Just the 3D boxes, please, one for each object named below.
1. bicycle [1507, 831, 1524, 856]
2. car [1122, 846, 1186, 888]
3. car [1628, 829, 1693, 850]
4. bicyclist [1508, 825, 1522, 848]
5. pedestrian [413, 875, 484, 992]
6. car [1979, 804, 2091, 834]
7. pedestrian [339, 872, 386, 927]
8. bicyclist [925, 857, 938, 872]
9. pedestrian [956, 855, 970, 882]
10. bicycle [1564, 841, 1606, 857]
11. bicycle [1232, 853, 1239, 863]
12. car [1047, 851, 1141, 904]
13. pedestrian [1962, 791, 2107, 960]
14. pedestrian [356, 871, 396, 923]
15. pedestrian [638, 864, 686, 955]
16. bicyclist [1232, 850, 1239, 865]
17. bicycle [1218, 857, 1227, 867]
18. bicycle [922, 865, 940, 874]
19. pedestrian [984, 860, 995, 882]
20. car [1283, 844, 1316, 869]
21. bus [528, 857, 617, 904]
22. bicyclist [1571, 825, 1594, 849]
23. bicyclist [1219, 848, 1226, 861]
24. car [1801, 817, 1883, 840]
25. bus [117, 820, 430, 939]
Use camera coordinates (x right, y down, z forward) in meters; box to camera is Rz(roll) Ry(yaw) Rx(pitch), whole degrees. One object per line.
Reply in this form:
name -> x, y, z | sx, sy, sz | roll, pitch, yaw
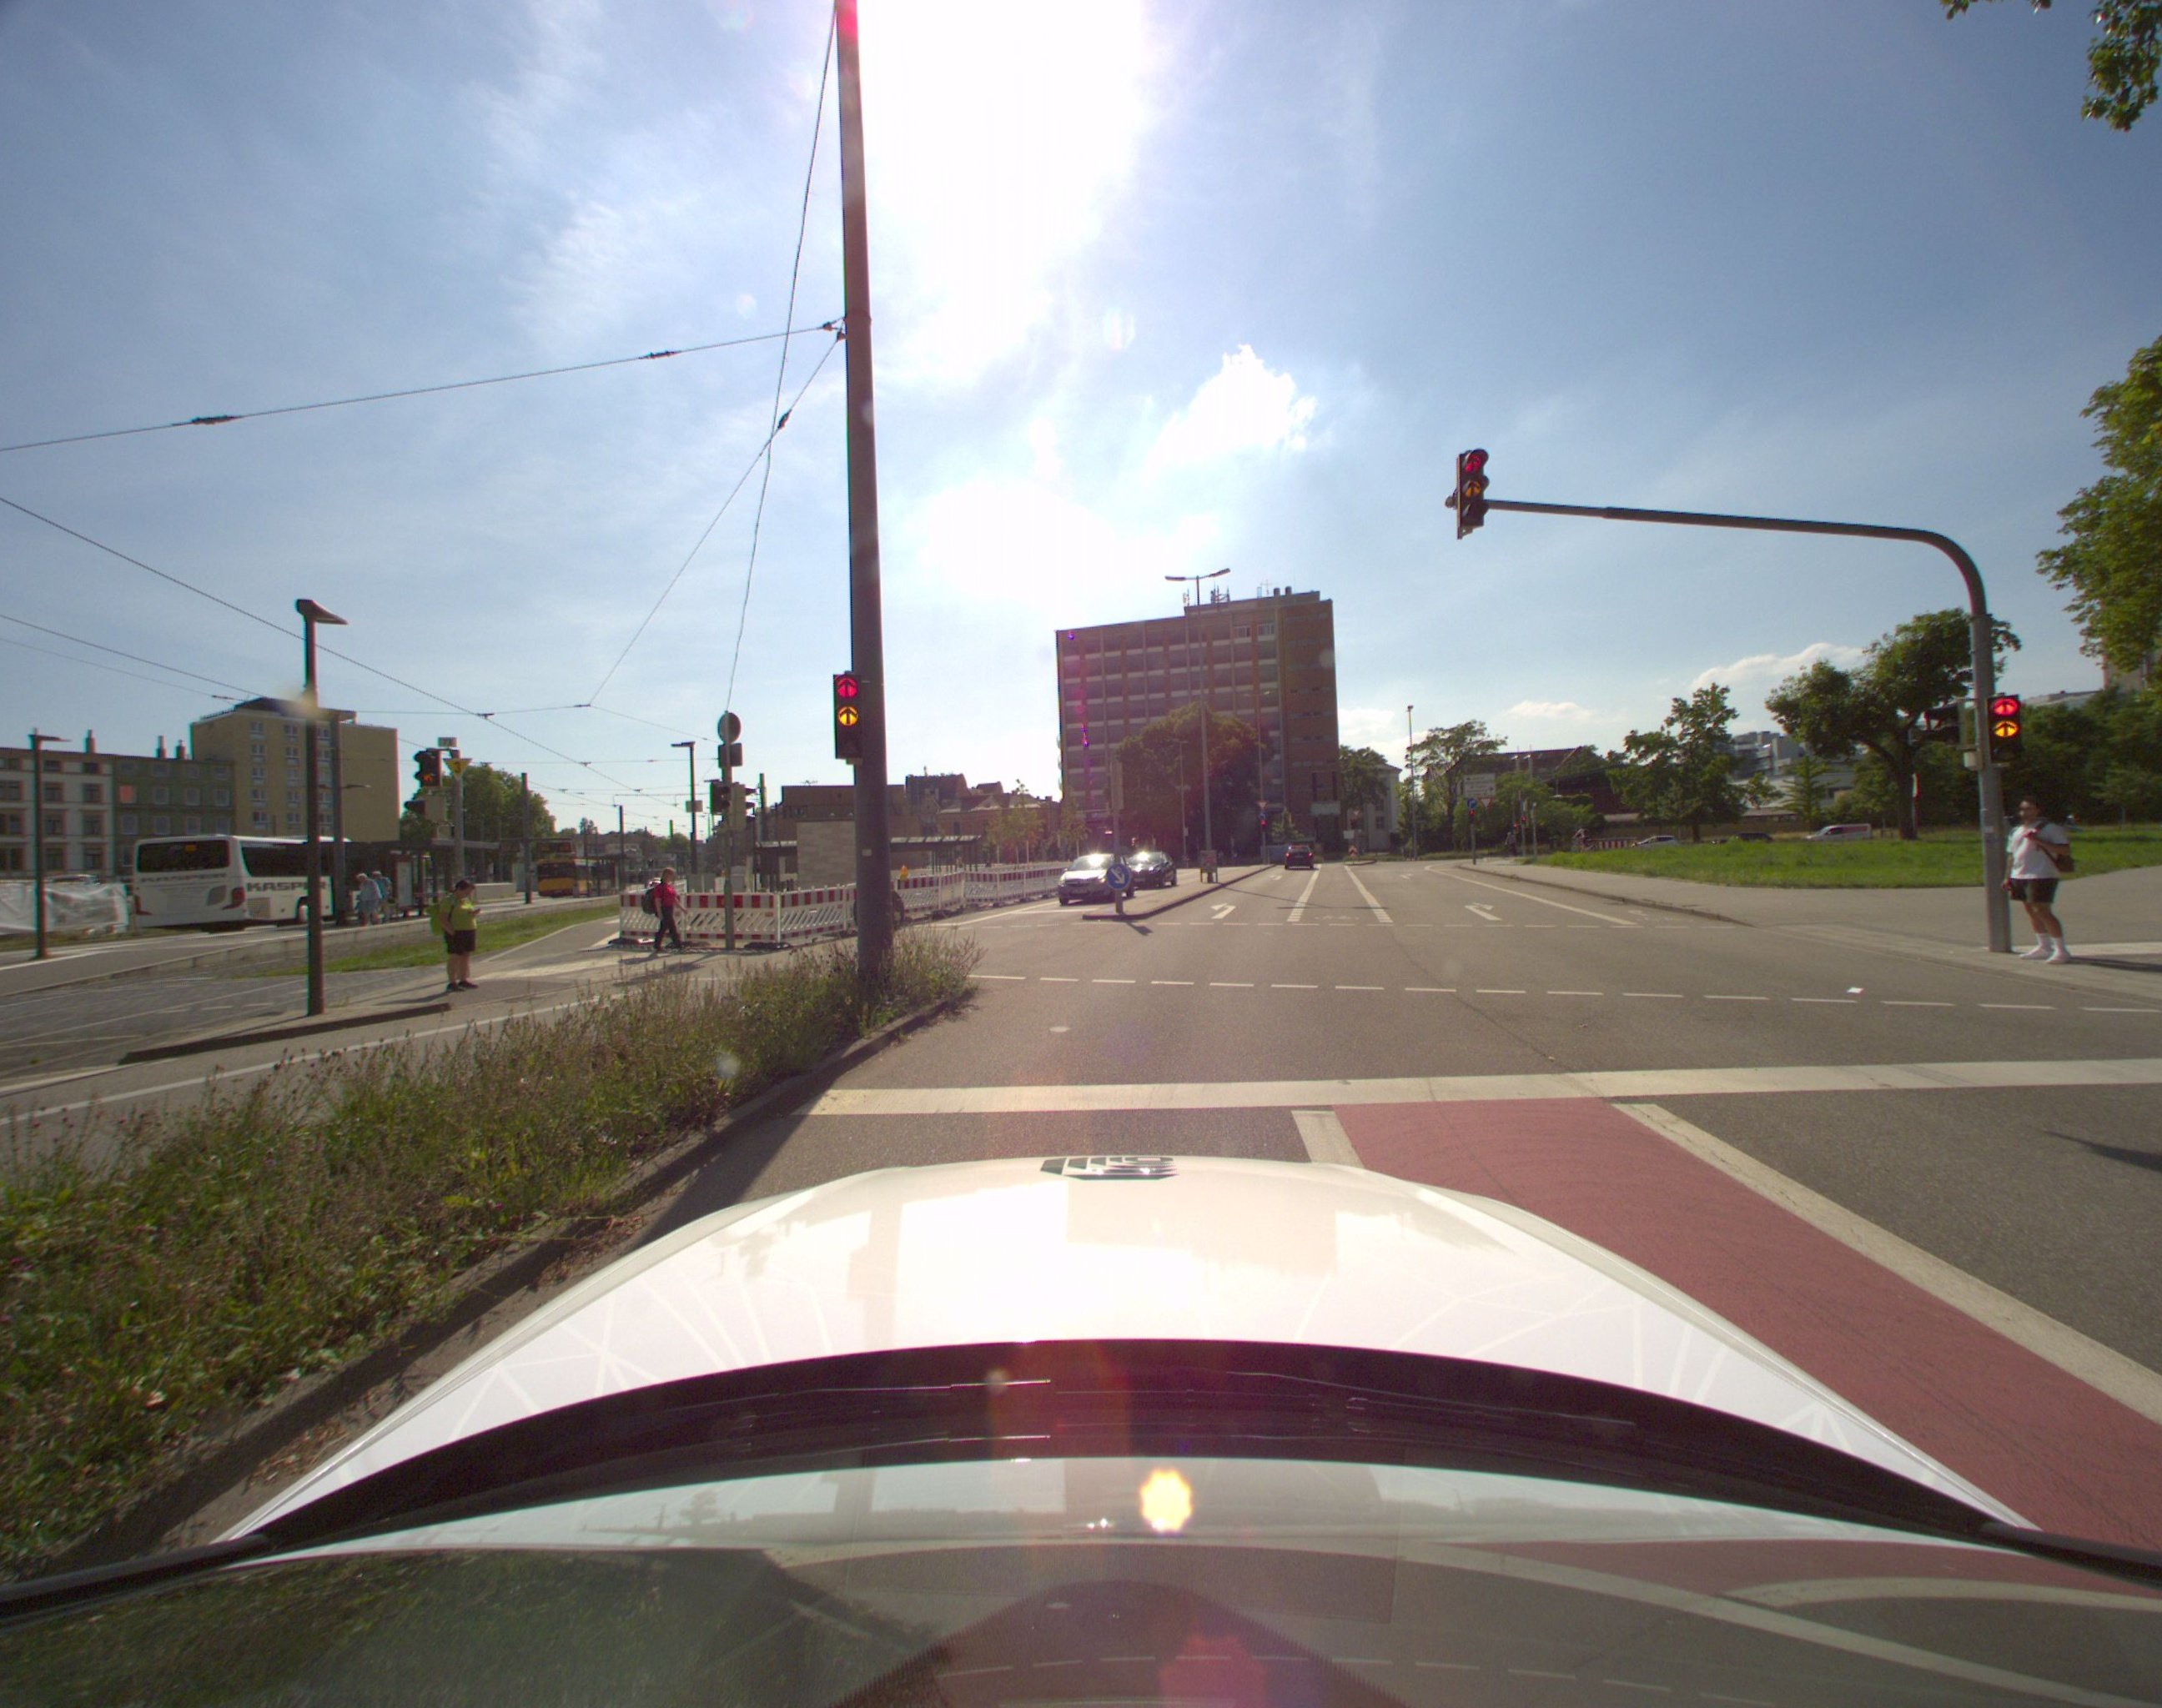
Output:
bicycle -> 32.430, -0.780, 60.774 | 0.673, 1.765, 1.819 | -3, 0, 17
car -> 2.968, 0.483, 32.420 | 1.653, 1.451, 3.836 | -5, -1, 18
car -> 48.868, -1.195, 68.753 | 3.956, 1.464, 2.009 | -3, -1, 17
bicyclist -> 32.428, -1.314, 60.807 | 0.673, 1.655, 0.923 | -3, 0, 17
pedestrian -> -8.657, 1.067, 11.162 | 0.668, 1.543, 0.420 | 0, 1, -23
car -> 56.385, -2.042, 48.231 | 3.955, 1.508, 1.760 | -3, 0, 17
pedestrian -> -22.204, 1.403, 25.187 | 0.789, 1.615, 0.662 | -2, 0, -2
bicyclist -> -15.269, 1.073, 83.038 | 1.154, 1.474, 0.567 | -3, 0, 29
pedestrian -> -8.036, 0.983, 55.483 | 0.733, 1.752, 1.111 | -3, -3, 1
bicycle -> 31.254, -0.318, 50.511 | 0.676, 0.916, 2.150 | -3, 0, -25
bicycle -> 16.691, 0.412, 87.847 | 0.614, 0.961, 1.975 | -5, -1, 12
car -> 0.493, 0.682, 25.557 | 1.779, 1.412, 4.018 | -4, -1, 18
pedestrian -> 11.198, 0.242, 9.594 | 0.650, 1.874, 0.796 | -4, 0, -1
pedestrian -> -22.666, 1.375, 26.186 | 0.685, 1.615, 0.586 | -2, 0, -1
pedestrian -> -7.748, 1.014, 15.070 | 0.686, 1.616, 0.348 | -3, 0, -21
bicyclist -> 16.692, 0.412, 87.847 | 0.614, 1.582, 1.017 | -5, -1, 12
bicycle -> 15.670, 0.892, 90.269 | 0.699, 0.977, 2.039 | -3, 0, 15
bicycle -> -15.285, 1.593, 83.051 | 1.872, 0.792, 0.564 | -2, 1, 29
pedestrian -> -6.404, 1.166, 57.051 | 0.628, 1.491, 0.617 | -3, 0, 1
car -> 13.511, 0.140, 50.313 | 1.766, 1.443, 3.835 | -1, 0, 18
bus -> -40.356, 1.990, 65.214 | 2.861, 3.281, 12.582 | -3, 0, -18
bicyclist -> 31.144, -1.062, 50.603 | 0.497, 1.470, 1.133 | 0, -1, -25
bicyclist -> 15.662, 0.058, 90.153 | 0.535, 1.417, 1.034 | -4, -2, 15
car -> 60.322, -1.975, 64.625 | 4.276, 1.569, 1.919 | -3, 0, 17
bus -> -29.371, 0.840, 30.877 | 2.861, 3.489, 12.582 | -3, 0, -18
